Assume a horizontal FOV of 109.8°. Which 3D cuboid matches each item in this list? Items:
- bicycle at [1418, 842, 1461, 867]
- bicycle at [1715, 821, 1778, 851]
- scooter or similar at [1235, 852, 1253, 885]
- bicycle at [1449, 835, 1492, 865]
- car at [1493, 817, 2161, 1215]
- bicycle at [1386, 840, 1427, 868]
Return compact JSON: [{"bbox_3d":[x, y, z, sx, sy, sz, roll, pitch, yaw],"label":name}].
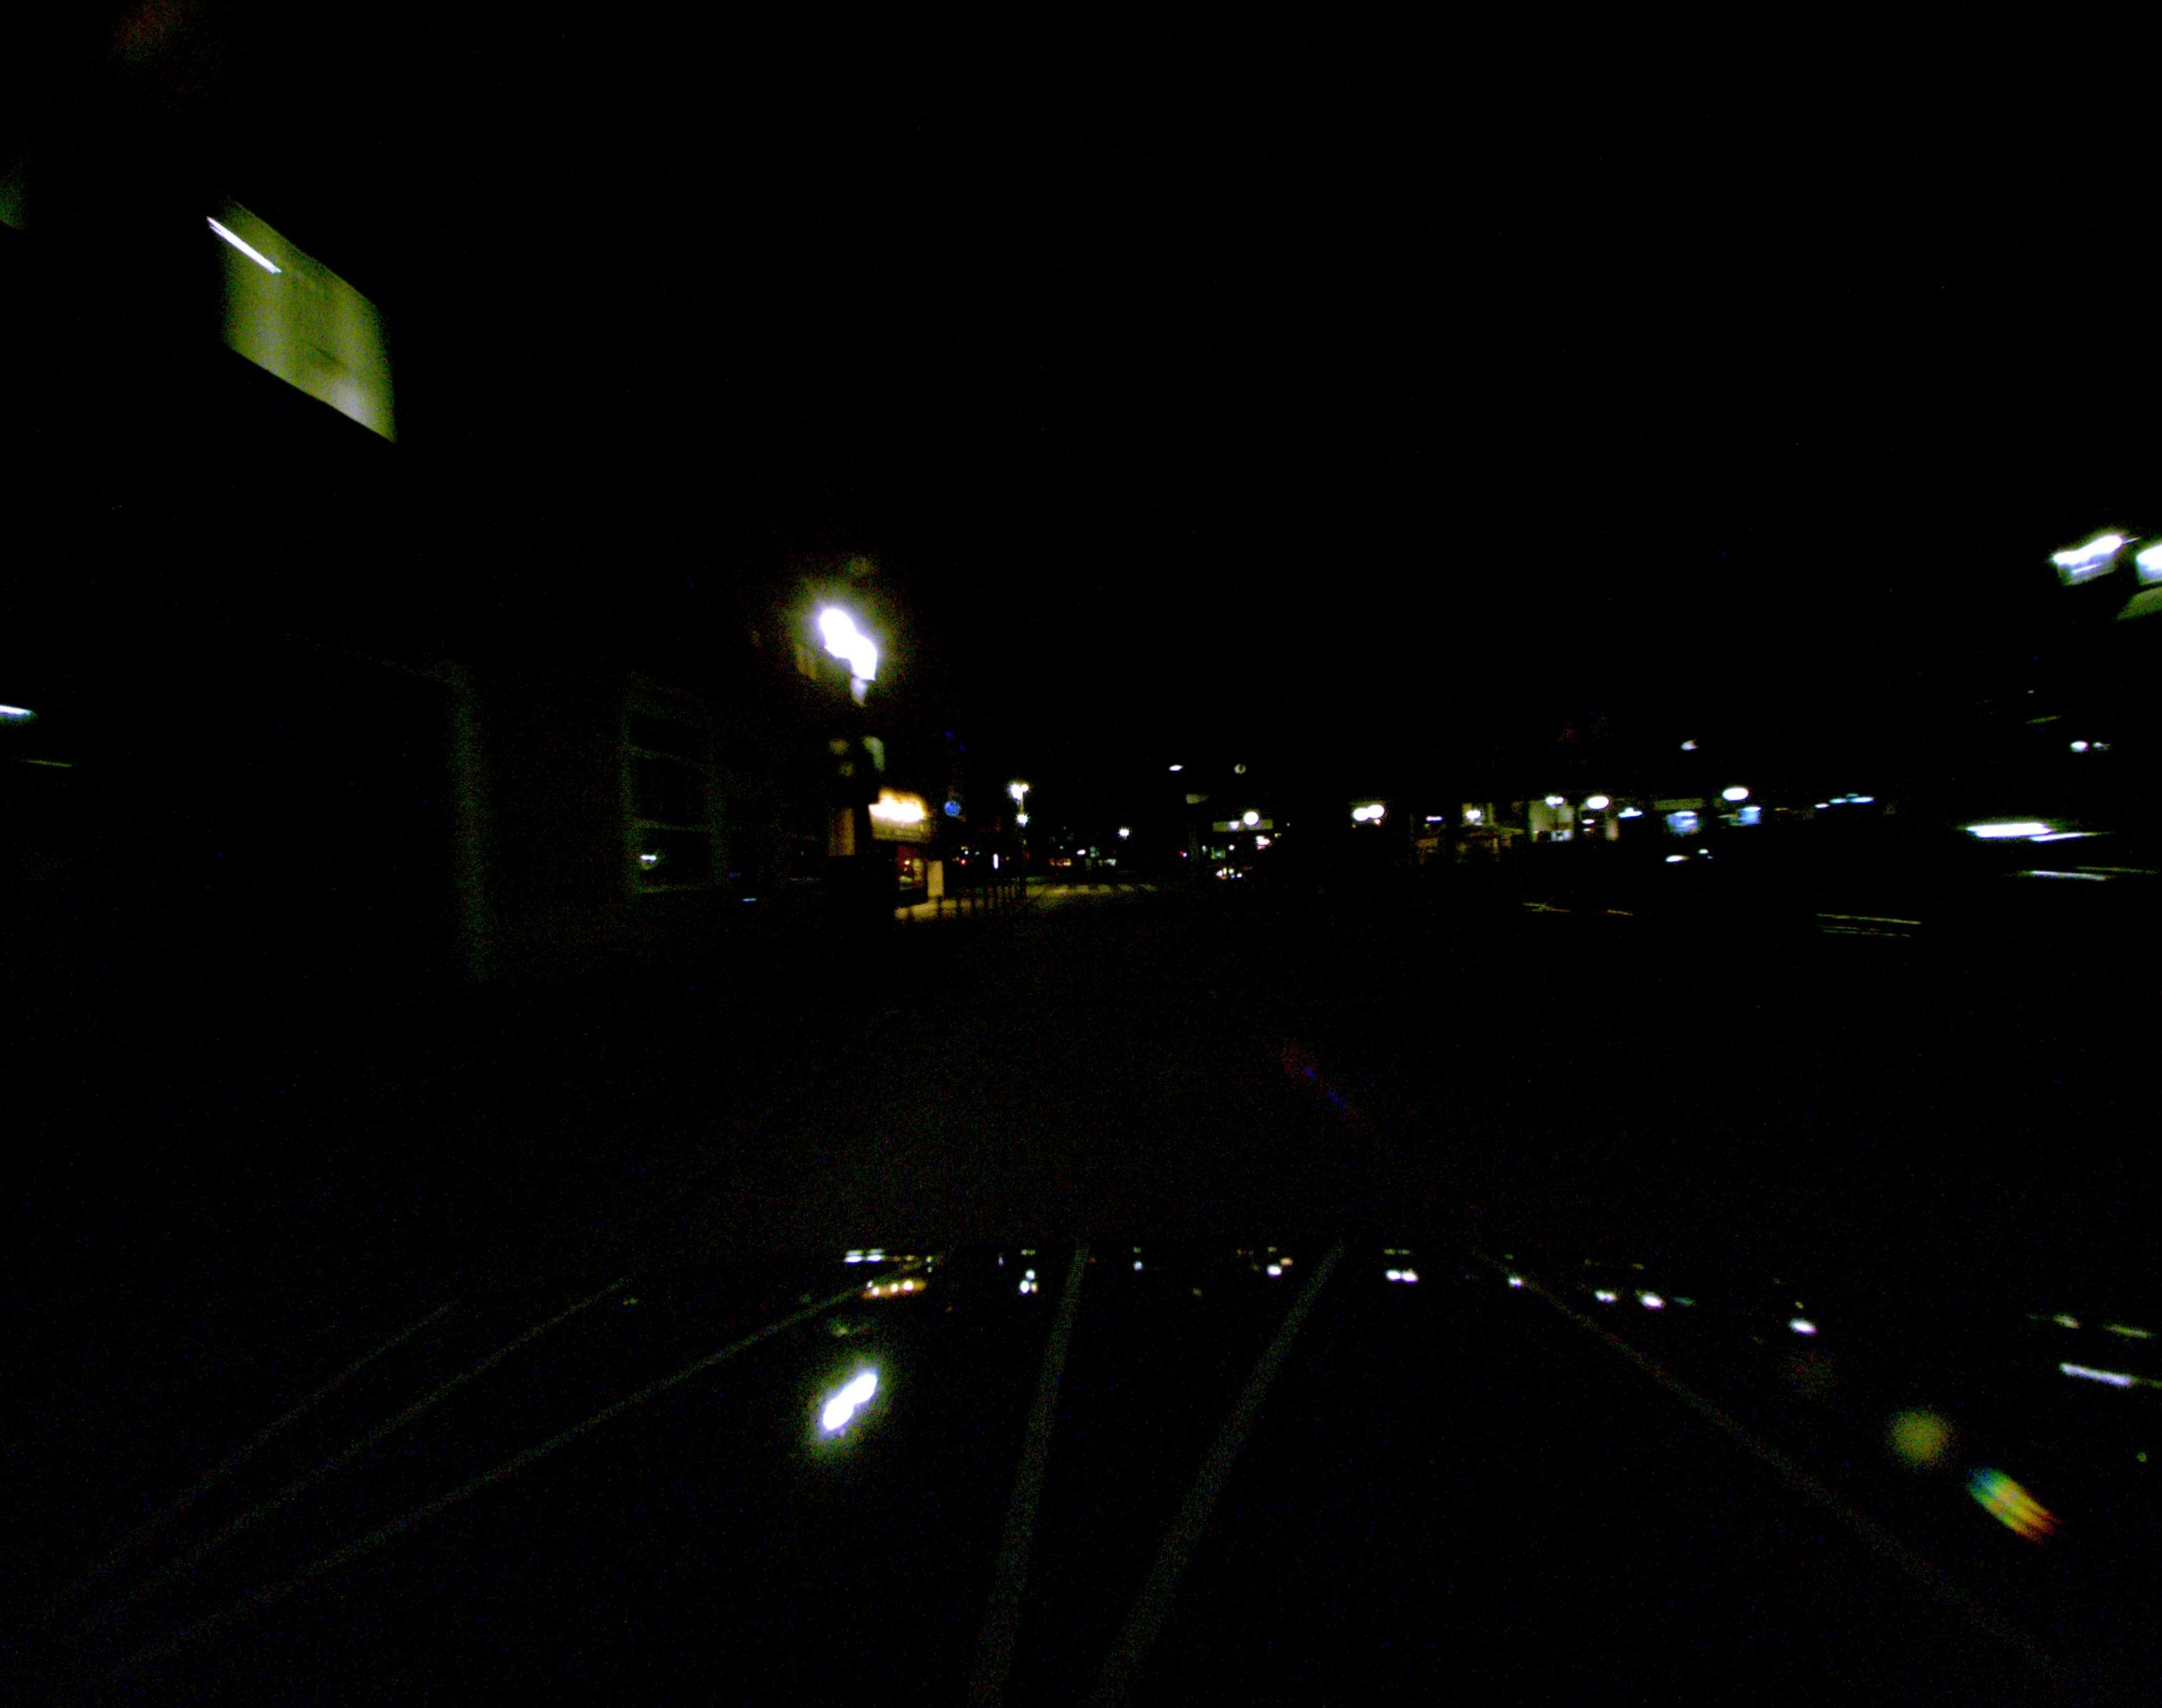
[{"bbox_3d":[17.119,-0.007,36.330,0.861,1.081,2.482,-2,1,0],"label":"bicycle"},{"bbox_3d":[31.762,-0.870,36.318,0.775,1.356,2.510,-2,1,0],"label":"bicycle"},{"bbox_3d":[6.438,0.581,30.115,0.370,1.256,1.449,-4,0,2],"label":"scooter or similar"},{"bbox_3d":[18.596,-0.230,36.325,0.764,1.356,2.413,-2,1,0],"label":"bicycle"},{"bbox_3d":[4.944,0.625,5.333,1.775,1.565,4.483,-4,1,3],"label":"car"},{"bbox_3d":[15.580,-0.010,36.406,0.861,1.247,2.465,-2,1,0],"label":"bicycle"}]
